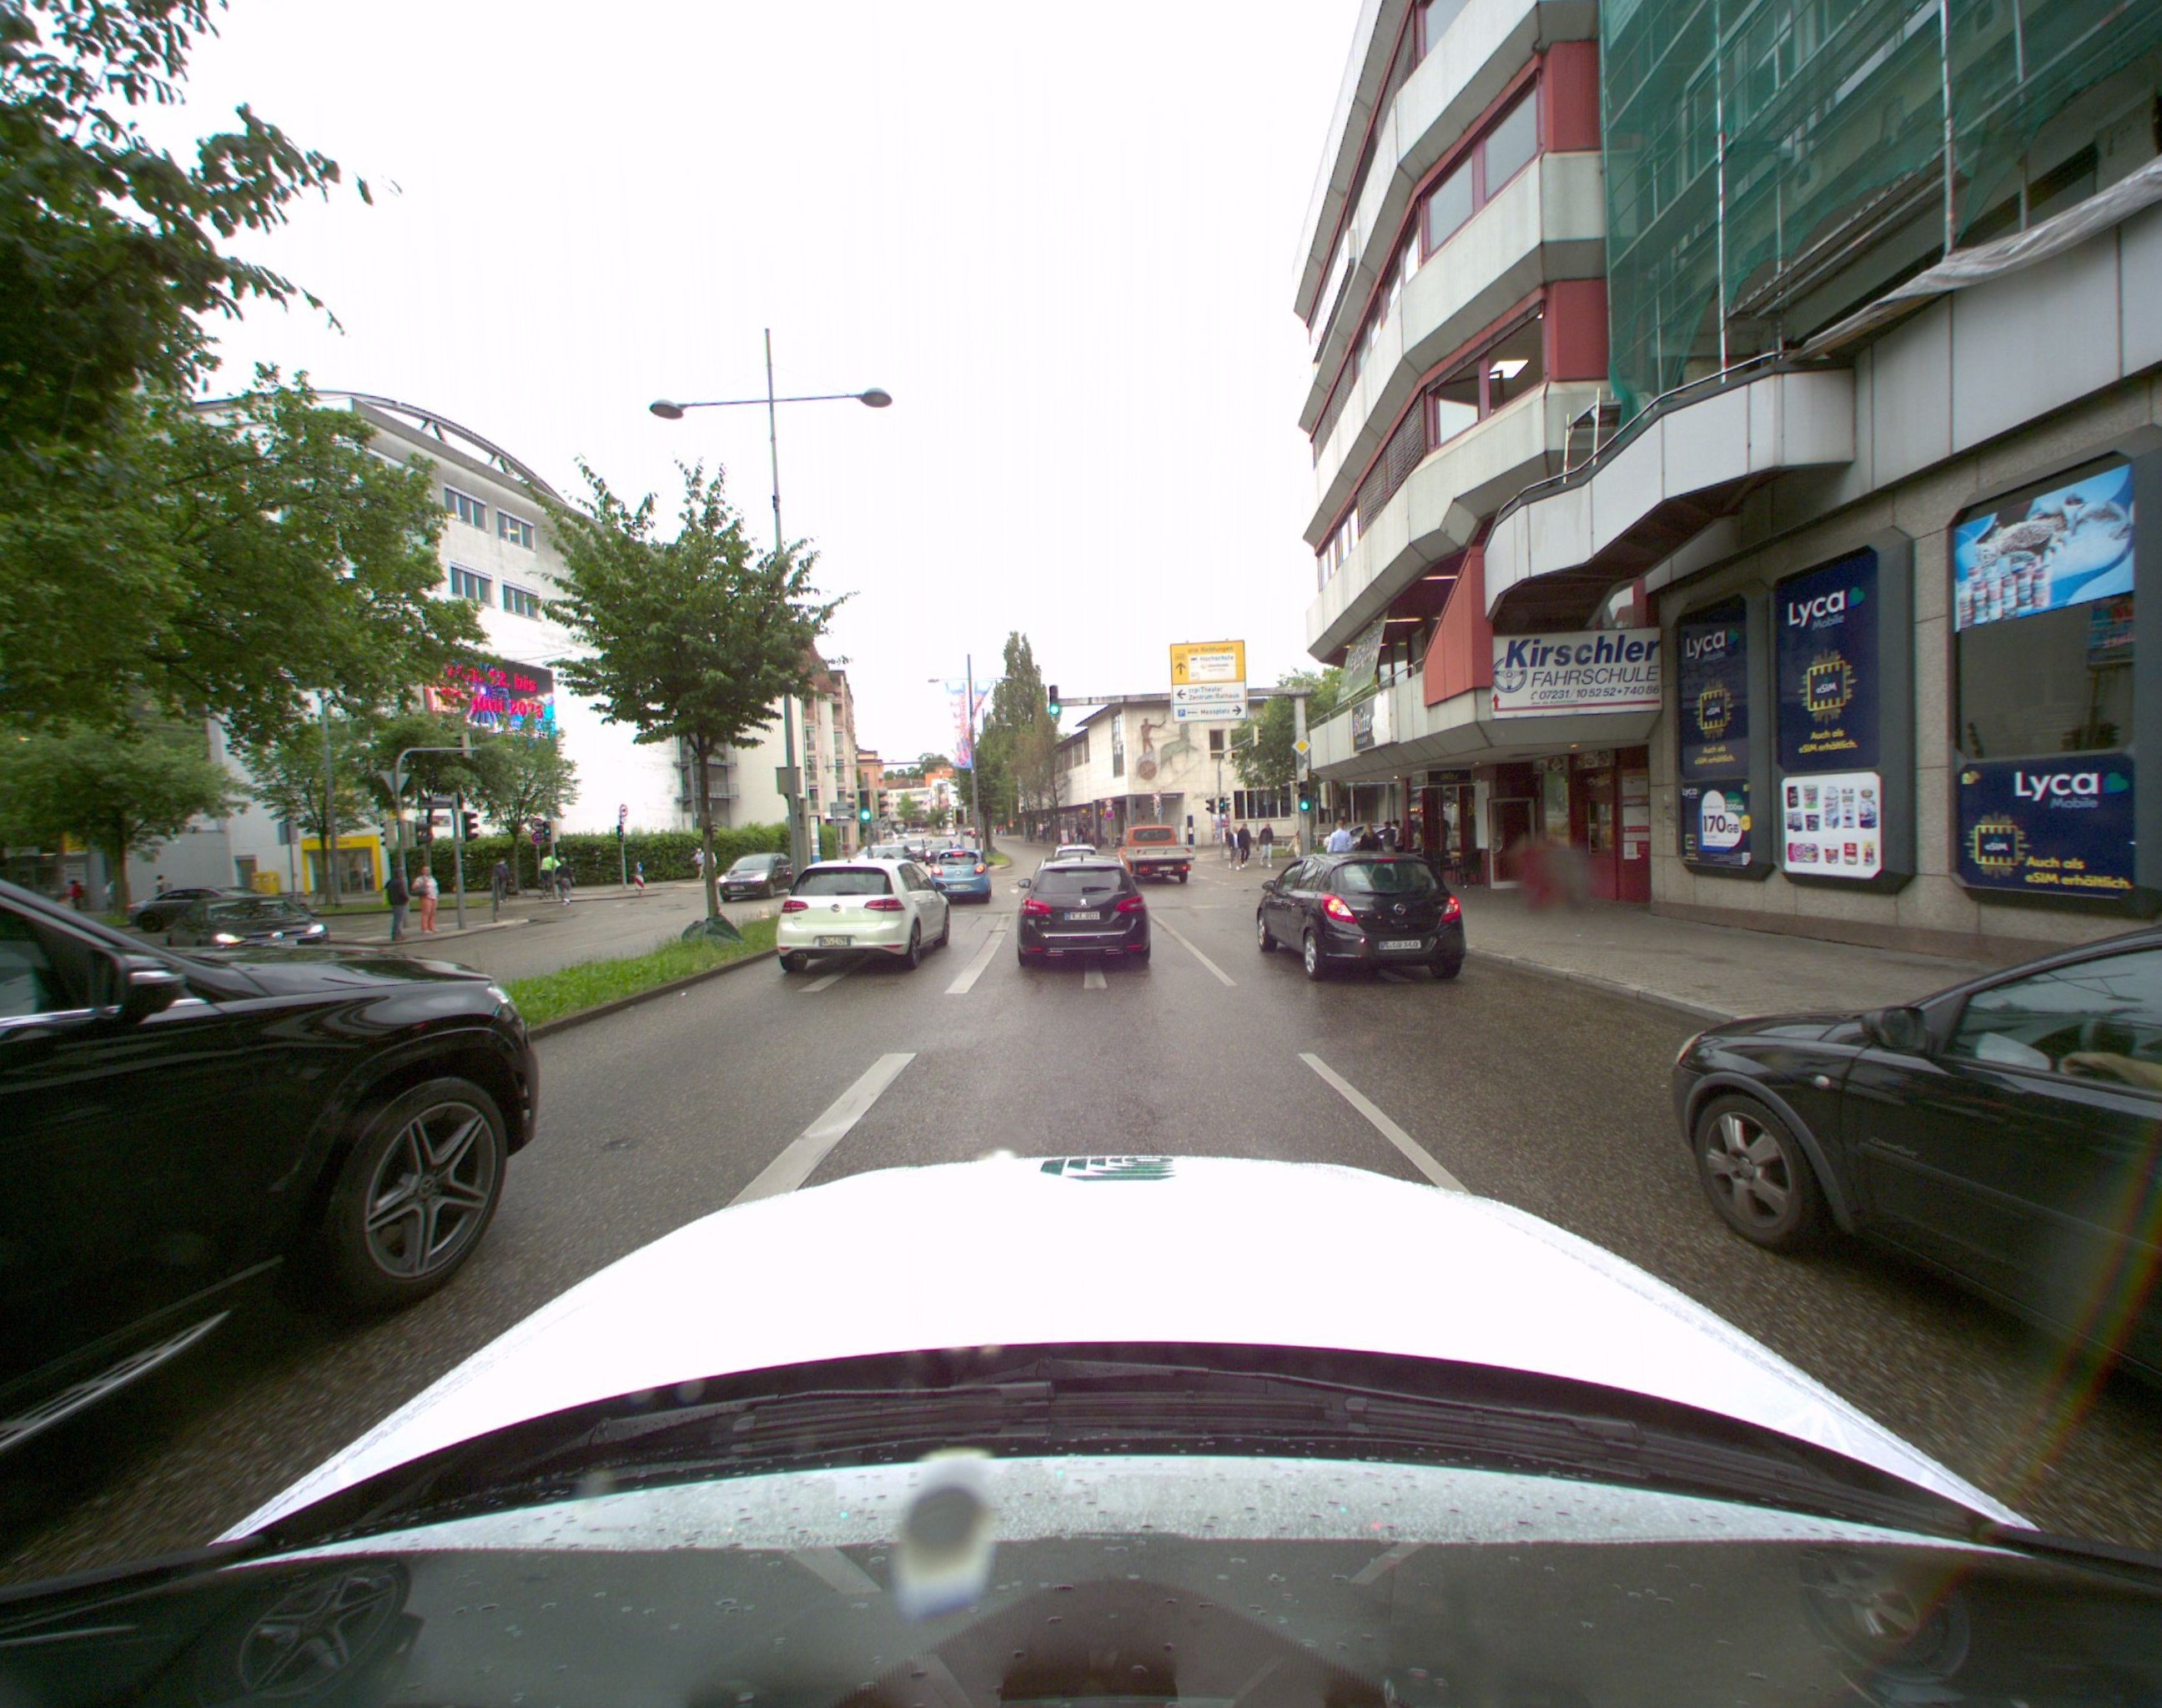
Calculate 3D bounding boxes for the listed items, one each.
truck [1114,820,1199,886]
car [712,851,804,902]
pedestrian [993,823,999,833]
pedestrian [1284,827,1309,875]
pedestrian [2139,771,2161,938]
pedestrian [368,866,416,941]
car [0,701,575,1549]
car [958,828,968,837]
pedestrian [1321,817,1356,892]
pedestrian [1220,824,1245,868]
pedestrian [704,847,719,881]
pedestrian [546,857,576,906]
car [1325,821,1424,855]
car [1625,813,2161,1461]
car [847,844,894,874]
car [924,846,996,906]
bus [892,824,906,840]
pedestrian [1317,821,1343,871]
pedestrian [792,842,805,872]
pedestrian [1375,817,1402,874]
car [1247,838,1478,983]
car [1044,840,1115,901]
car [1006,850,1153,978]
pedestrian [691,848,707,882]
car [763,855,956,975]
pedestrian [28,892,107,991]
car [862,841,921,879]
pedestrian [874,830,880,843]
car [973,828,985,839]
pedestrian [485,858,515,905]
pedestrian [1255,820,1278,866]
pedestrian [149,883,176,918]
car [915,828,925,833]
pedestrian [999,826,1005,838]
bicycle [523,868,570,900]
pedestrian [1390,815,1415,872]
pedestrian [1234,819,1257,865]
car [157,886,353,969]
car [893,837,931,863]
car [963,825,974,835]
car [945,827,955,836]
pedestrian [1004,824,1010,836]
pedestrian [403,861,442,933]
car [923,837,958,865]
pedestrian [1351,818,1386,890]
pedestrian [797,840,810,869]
[{"bbox_3d":[2.556,-0.087,28.769,2.118,2.025,4.708,-3,1,-5],"label":"truck"},{"bbox_3d":[-11.320,0.724,28.795,1.614,1.491,3.878,-5,1,-1],"label":"car"},{"bbox_3d":[-13.724,-4.190,131.061,0.718,1.619,0.766,-4,3,-13],"label":"pedestrian"},{"bbox_3d":[7.693,-0.127,29.102,0.572,1.663,0.941,-4,2,2],"label":"pedestrian"},{"bbox_3d":[6.786,0.352,4.386,0.892,1.779,0.806,-7,-1,3],"label":"pedestrian"},{"bbox_3d":[-16.978,1.203,20.081,0.674,1.763,0.411,-3,3,-10],"label":"pedestrian"},{"bbox_3d":[-3.266,0.568,1.180,1.987,1.778,4.885,0,-1,0],"label":"car"},{"bbox_3d":[-22.513,-4.130,155.624,1.646,1.564,3.584,0,-1,-12],"label":"car"},{"bbox_3d":[6.520,0.014,20.625,0.619,1.847,0.849,-2,0,6],"label":"pedestrian"},{"bbox_3d":[6.219,-0.323,33.460,0.747,1.779,0.887,-3,0,-4],"label":"pedestrian"},{"bbox_3d":[-19.328,0.524,42.638,0.525,1.764,0.592,0,0,-3],"label":"pedestrian"},{"bbox_3d":[-19.060,1.010,29.858,0.646,1.764,0.591,-2,-1,-5],"label":"pedestrian"},{"bbox_3d":[14.312,-0.797,39.811,4.265,1.419,1.780,-3,2,-14],"label":"car"},{"bbox_3d":[3.252,0.642,1.940,1.586,1.440,3.630,-2,2,2],"label":"car"},{"bbox_3d":[-11.994,0.248,46.590,1.667,1.515,3.643,-4,1,0],"label":"car"},{"bbox_3d":[-3.361,0.555,23.198,1.692,1.474,3.685,-2,1,-4],"label":"car"},{"bbox_3d":[-42.226,-5.166,188.805,2.748,3.074,12.180,-3,4,-14],"label":"bus"},{"bbox_3d":[8.872,-0.301,29.053,0.586,1.706,0.971,-4,2,2],"label":"pedestrian"},{"bbox_3d":[-17.336,0.185,50.022,0.526,1.764,0.630,-2,-1,-4],"label":"pedestrian"},{"bbox_3d":[9.655,-0.255,25.574,0.593,1.763,0.493,-2,0,0],"label":"pedestrian"},{"bbox_3d":[3.396,0.566,10.592,1.702,1.457,3.742,-1,2,0],"label":"car"},{"bbox_3d":[-0.133,0.406,23.857,1.791,1.483,3.995,-3,2,-4],"label":"car"},{"bbox_3d":[0.047,0.732,12.044,1.788,1.483,4.002,-1,1,2],"label":"car"},{"bbox_3d":[-20.008,0.567,42.652,0.525,1.764,0.592,0,2,-2],"label":"pedestrian"},{"bbox_3d":[-3.019,0.750,11.982,1.760,1.409,3.999,0,1,0],"label":"car"},{"bbox_3d":[-20.704,1.765,16.638,0.816,1.906,0.866,-3,-1,30],"label":"pedestrian"},{"bbox_3d":[-8.495,0.229,36.818,1.708,1.478,3.956,-5,1,-1],"label":"car"},{"bbox_3d":[-29.372,-2.519,116.996,0.698,1.793,0.955,-2,1,-10],"label":"pedestrian"},{"bbox_3d":[-16.182,-3.286,128.834,1.646,1.564,3.584,0,-1,-12],"label":"car"},{"bbox_3d":[-22.487,1.054,31.530,0.644,1.781,0.799,-4,-1,45],"label":"pedestrian"},{"bbox_3d":[7.829,-0.450,34.365,0.730,1.895,0.676,-3,0,-1],"label":"pedestrian"},{"bbox_3d":[-42.685,2.155,37.857,0.554,1.600,0.529,-3,1,5],"label":"pedestrian"},{"bbox_3d":[-49.923,-7.308,252.259,1.658,1.564,3.559,0,-1,-37],"label":"car"},{"bbox_3d":[-12.201,-3.400,125.172,0.654,1.766,0.919,-4,3,-13],"label":"pedestrian"},{"bbox_3d":[-21.429,1.194,32.706,0.649,1.110,2.054,-3,2,-6],"label":"bicycle"},{"bbox_3d":[10.217,-0.327,25.915,0.524,1.763,0.511,-2,0,0],"label":"pedestrian"},{"bbox_3d":[6.959,-0.517,34.505,0.756,1.901,0.789,-3,0,-1],"label":"pedestrian"},{"bbox_3d":[-17.603,1.527,17.313,4.369,1.396,1.946,-3,1,32],"label":"car"},{"bbox_3d":[-12.406,-0.335,60.029,1.822,1.736,4.309,-3,1,-1],"label":"car"},{"bbox_3d":[-19.863,-4.274,143.695,1.646,1.564,3.584,0,-1,-12],"label":"car"},{"bbox_3d":[-24.402,-4.154,152.190,1.646,1.564,3.584,0,-1,-12],"label":"car"},{"bbox_3d":[-11.434,-3.670,125.323,0.699,1.801,0.604,-4,3,-13],"label":"pedestrian"},{"bbox_3d":[-17.049,1.100,21.092,0.446,1.837,0.675,-3,-1,-5],"label":"pedestrian"},{"bbox_3d":[-8.743,-0.193,50.932,1.618,1.555,3.657,-3,2,-2],"label":"car"},{"bbox_3d":[7.220,-0.004,20.469,0.619,1.773,0.678,-2,0,6],"label":"pedestrian"},{"bbox_3d":[-17.576,0.043,51.589,0.640,1.764,0.591,-2,-1,-4],"label":"pedestrian"}]
